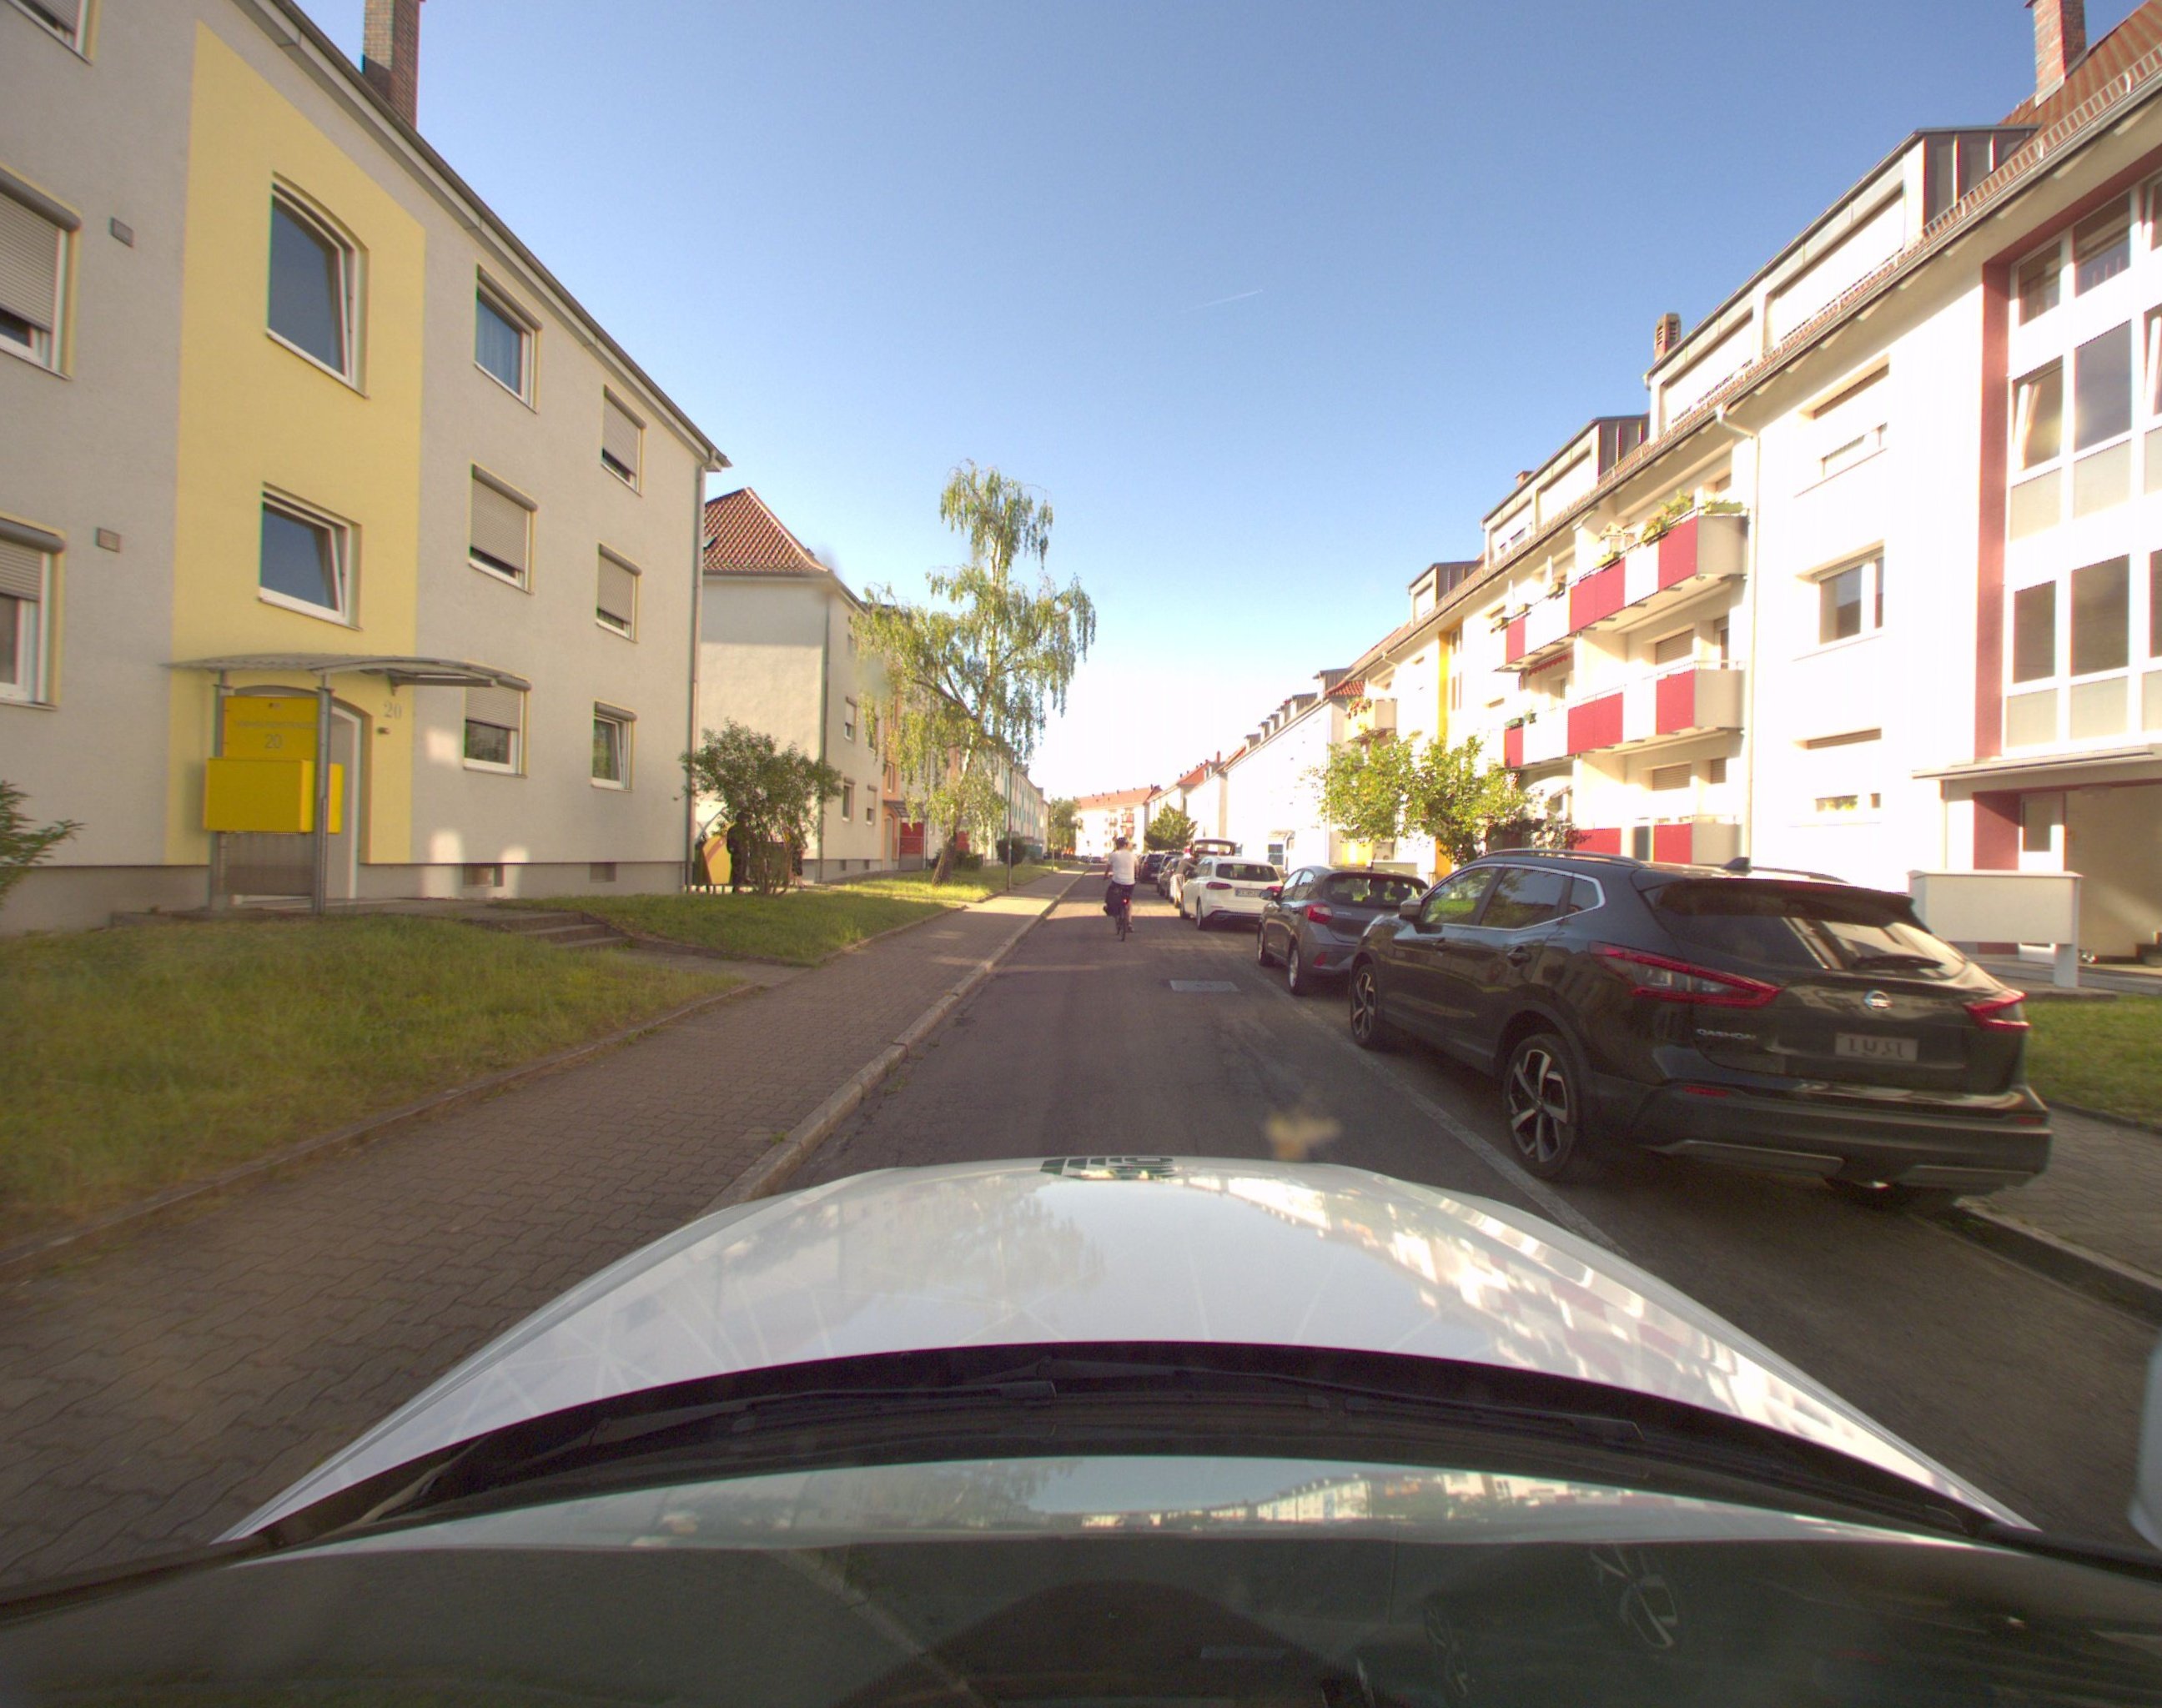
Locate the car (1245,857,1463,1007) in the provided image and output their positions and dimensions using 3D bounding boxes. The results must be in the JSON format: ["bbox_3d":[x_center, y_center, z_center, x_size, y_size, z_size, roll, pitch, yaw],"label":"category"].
[{"bbox_3d":[3.223,0.809,10.442,1.639,1.449,4.065,3,0,4],"label":"car"}]

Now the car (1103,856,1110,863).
[{"bbox_3d":[5.289,1.112,170.064,1.465,1.516,3.076,0,0,0],"label":"car"}]

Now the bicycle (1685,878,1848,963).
[{"bbox_3d":[9.991,0.923,12.002,0.518,1.049,2.289,-2,0,2],"label":"bicycle"}]

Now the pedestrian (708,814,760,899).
[{"bbox_3d":[-7.606,0.046,17.890,0.802,1.824,0.718,0,0,2],"label":"pedestrian"}]

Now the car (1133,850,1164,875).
[{"bbox_3d":[4.494,0.551,54.822,1.684,1.575,4.435,2,0,1],"label":"car"}]

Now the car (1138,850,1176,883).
[{"bbox_3d":[4.084,0.636,44.120,1.776,1.648,4.471,2,0,3],"label":"car"}]

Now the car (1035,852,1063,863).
[{"bbox_3d":[-4.768,0.559,122.335,4.221,1.638,1.581,1,0,-3],"label":"car"}]

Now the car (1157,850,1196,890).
[{"bbox_3d":[3.942,0.642,33.940,1.472,1.529,2.945,3,0,5],"label":"car"}]

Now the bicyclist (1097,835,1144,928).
[{"bbox_3d":[0.711,0.483,14.825,0.806,1.643,0.898,0,0,-1],"label":"bicyclist"}]

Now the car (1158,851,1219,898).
[{"bbox_3d":[3.806,0.678,29.465,1.688,1.491,3.984,3,0,1],"label":"car"}]

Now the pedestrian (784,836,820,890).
[{"bbox_3d":[-7.004,0.222,20.469,0.683,1.317,0.576,0,0,2],"label":"pedestrian"}]

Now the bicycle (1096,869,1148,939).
[{"bbox_3d":[0.708,0.865,14.758,0.806,1.128,2.101,0,0,-1],"label":"bicycle"}]

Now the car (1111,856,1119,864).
[{"bbox_3d":[6.563,1.113,157.256,1.377,1.497,3.076,0,0,0],"label":"car"}]

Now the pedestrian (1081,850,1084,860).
[{"bbox_3d":[0.288,0.177,136.939,0.433,1.574,0.543,0,0,1],"label":"pedestrian"}]

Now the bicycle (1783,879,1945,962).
[{"bbox_3d":[11.296,0.914,11.853,0.518,1.037,1.976,0,0,2],"label":"bicycle"}]

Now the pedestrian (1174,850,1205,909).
[{"bbox_3d":[2.954,0.688,22.227,0.737,1.575,0.880,0,0,1],"label":"pedestrian"}]

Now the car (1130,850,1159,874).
[{"bbox_3d":[4.703,0.570,60.873,1.745,1.617,4.451,3,0,0],"label":"car"}]

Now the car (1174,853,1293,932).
[{"bbox_3d":[3.252,0.752,18.226,1.766,1.505,4.480,2,0,0],"label":"car"}]

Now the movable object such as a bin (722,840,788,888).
[{"bbox_3d":[-9.650,0.291,24.196,1.383,1.336,1.228,3,0,1],"label":"movable object such as a bin"}]

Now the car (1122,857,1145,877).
[{"bbox_3d":[4.755,1.132,73.578,1.855,1.668,4.128,3,0,1],"label":"car"}]

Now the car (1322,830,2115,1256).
[{"bbox_3d":[3.014,0.697,5.202,1.717,1.578,4.353,0,0,1],"label":"car"}]

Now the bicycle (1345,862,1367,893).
[{"bbox_3d":[9.988,0.850,29.555,0.401,1.087,1.300,0,0,2],"label":"bicycle"}]

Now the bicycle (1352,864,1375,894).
[{"bbox_3d":[9.936,0.872,28.647,0.737,1.047,0.239,0,0,3],"label":"bicycle"}]

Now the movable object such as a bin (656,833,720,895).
[{"bbox_3d":[-9.317,0.227,19.339,1.080,1.406,0.813,1,0,2],"label":"movable object such as a bin"}]

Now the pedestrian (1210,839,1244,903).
[{"bbox_3d":[3.914,0.440,21.860,0.816,1.687,0.604,0,0,1],"label":"pedestrian"}]

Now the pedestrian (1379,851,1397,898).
[{"bbox_3d":[9.903,0.668,26.296,0.449,1.495,0.360,0,-2,2],"label":"pedestrian"}]

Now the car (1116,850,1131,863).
[{"bbox_3d":[5.610,0.331,108.111,1.669,1.738,3.942,2,0,0],"label":"car"}]

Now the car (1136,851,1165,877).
[{"bbox_3d":[4.162,0.574,49.218,1.635,1.498,4.159,1,0,3],"label":"car"}]

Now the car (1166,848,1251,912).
[{"bbox_3d":[3.662,0.673,24.237,1.985,1.613,5.000,3,0,4],"label":"car"}]

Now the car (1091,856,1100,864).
[{"bbox_3d":[2.472,1.053,140.578,1.465,1.335,3.140,0,0,0],"label":"car"}]
